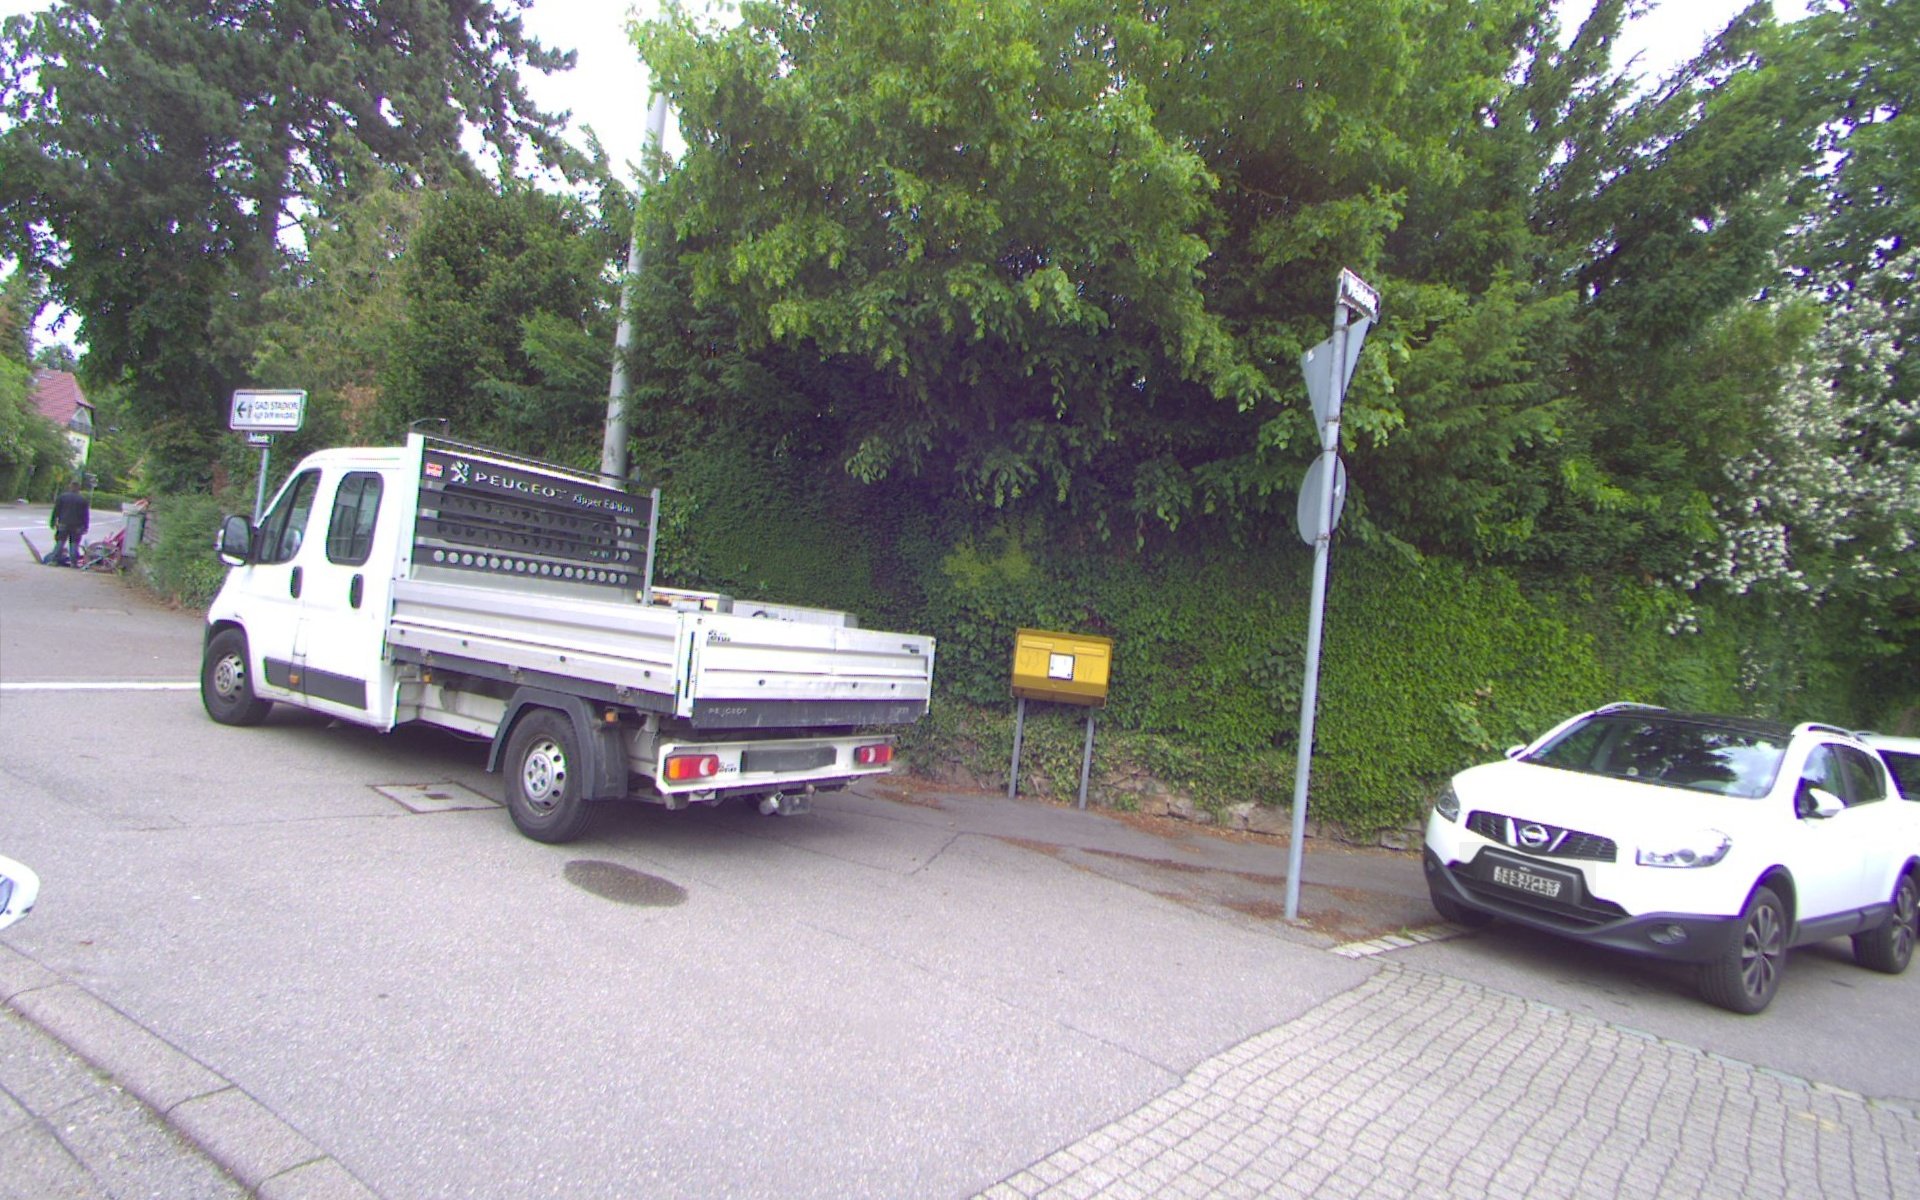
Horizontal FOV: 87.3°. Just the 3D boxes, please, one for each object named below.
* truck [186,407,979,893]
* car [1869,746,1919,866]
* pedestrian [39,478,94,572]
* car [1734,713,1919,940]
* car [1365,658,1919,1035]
[{"bbox_3d":[-2.935,0.084,7.157,5.631,2.270,2.211,6,-2,34],"label":"truck"},{"bbox_3d":[13.949,2.884,13.584,4.040,1.440,1.781,8,-2,-38],"label":"car"},{"bbox_3d":[-19.544,-1.634,22.008,0.549,1.929,0.597,7,-1,32],"label":"pedestrian"},{"bbox_3d":[9.044,2.115,9.464,4.041,1.641,1.781,9,-3,-38],"label":"car"},{"bbox_3d":[4.765,1.469,6.652,4.098,1.641,1.783,9,-2,-34],"label":"car"}]
